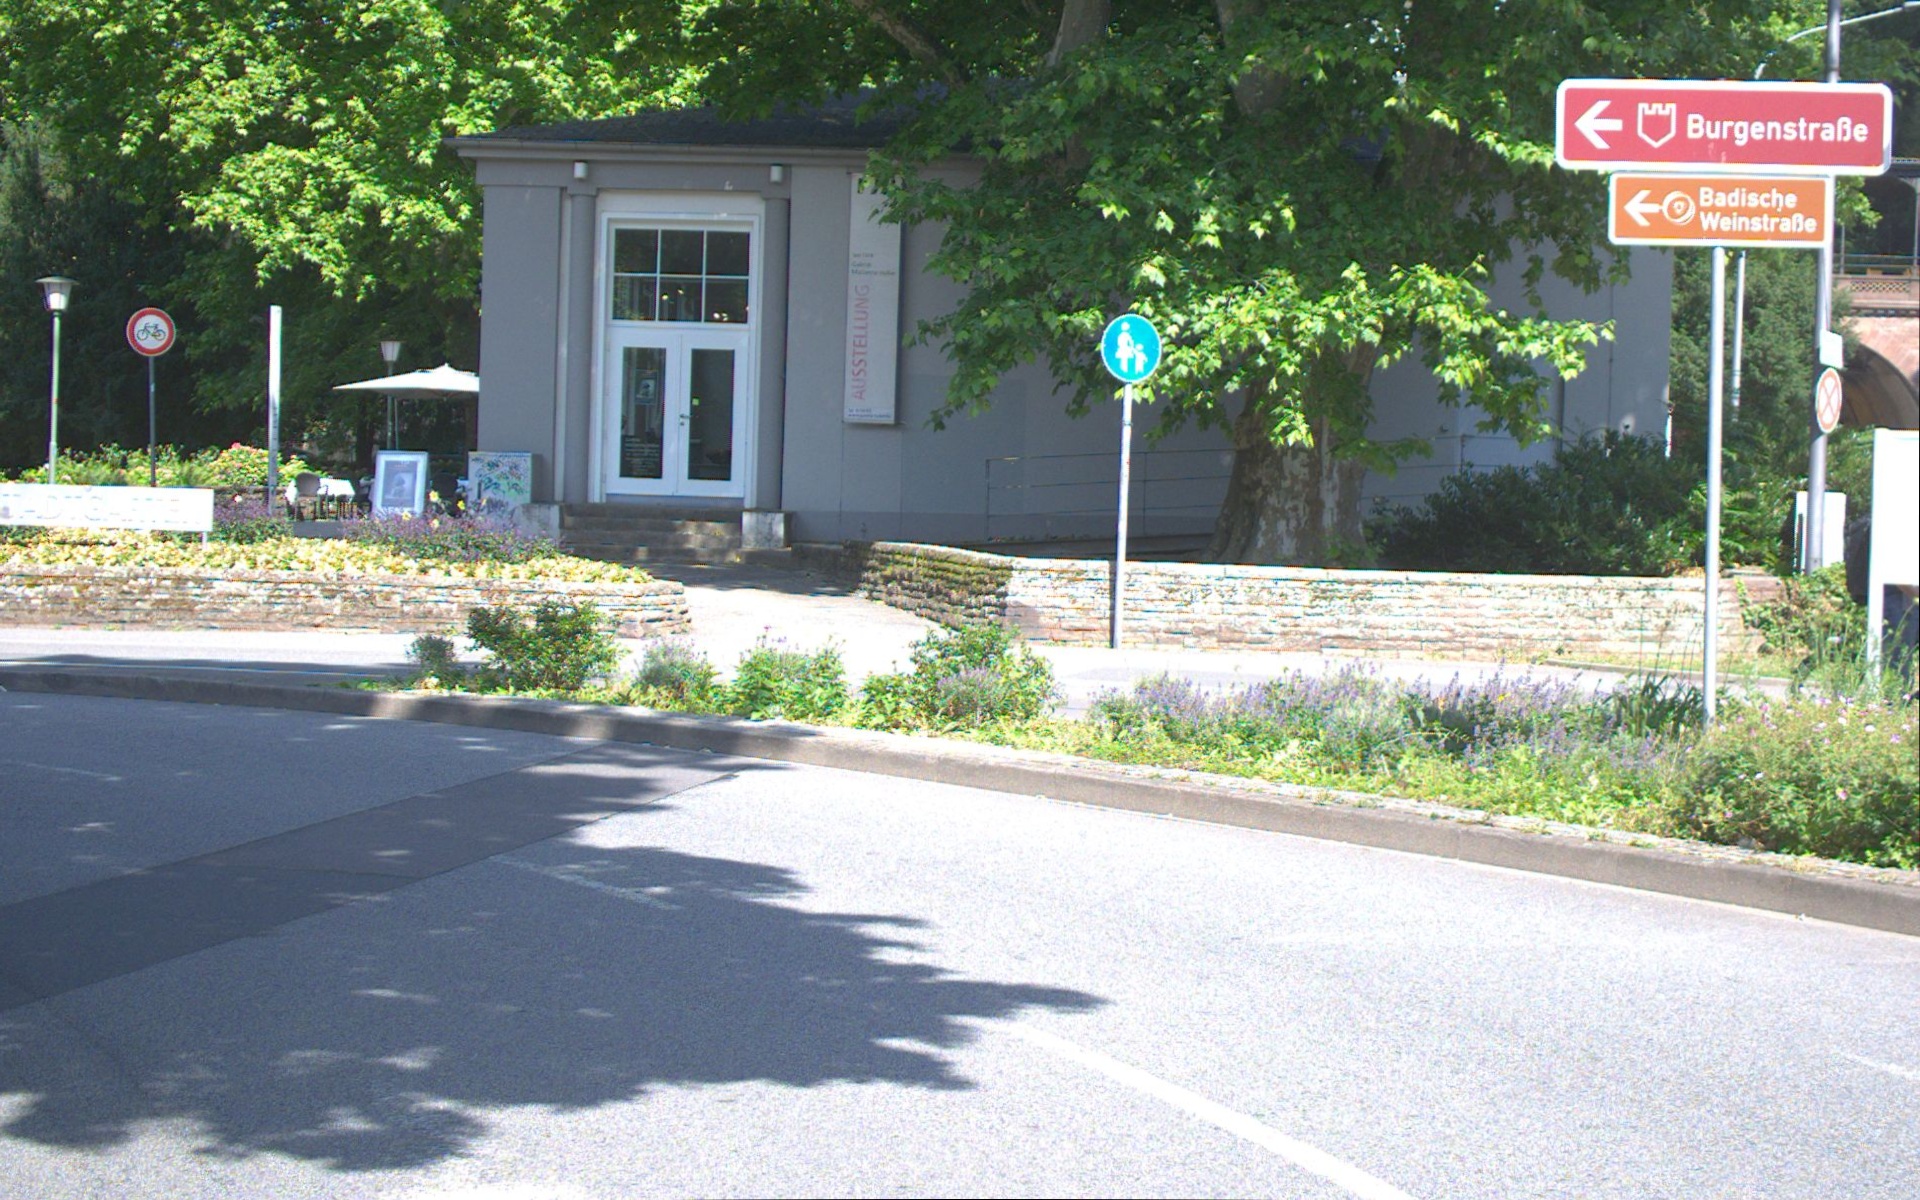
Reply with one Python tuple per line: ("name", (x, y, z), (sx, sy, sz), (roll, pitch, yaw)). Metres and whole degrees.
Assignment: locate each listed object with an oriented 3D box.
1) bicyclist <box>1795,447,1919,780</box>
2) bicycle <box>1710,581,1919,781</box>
("bicyclist", (5.685, 0.076, 20.421), (1.128, 1.926, 0.746), (3, 2, 38))
("bicycle", (5.616, 0.483, 20.481), (2.081, 1.109, 0.755), (3, 2, 38))
